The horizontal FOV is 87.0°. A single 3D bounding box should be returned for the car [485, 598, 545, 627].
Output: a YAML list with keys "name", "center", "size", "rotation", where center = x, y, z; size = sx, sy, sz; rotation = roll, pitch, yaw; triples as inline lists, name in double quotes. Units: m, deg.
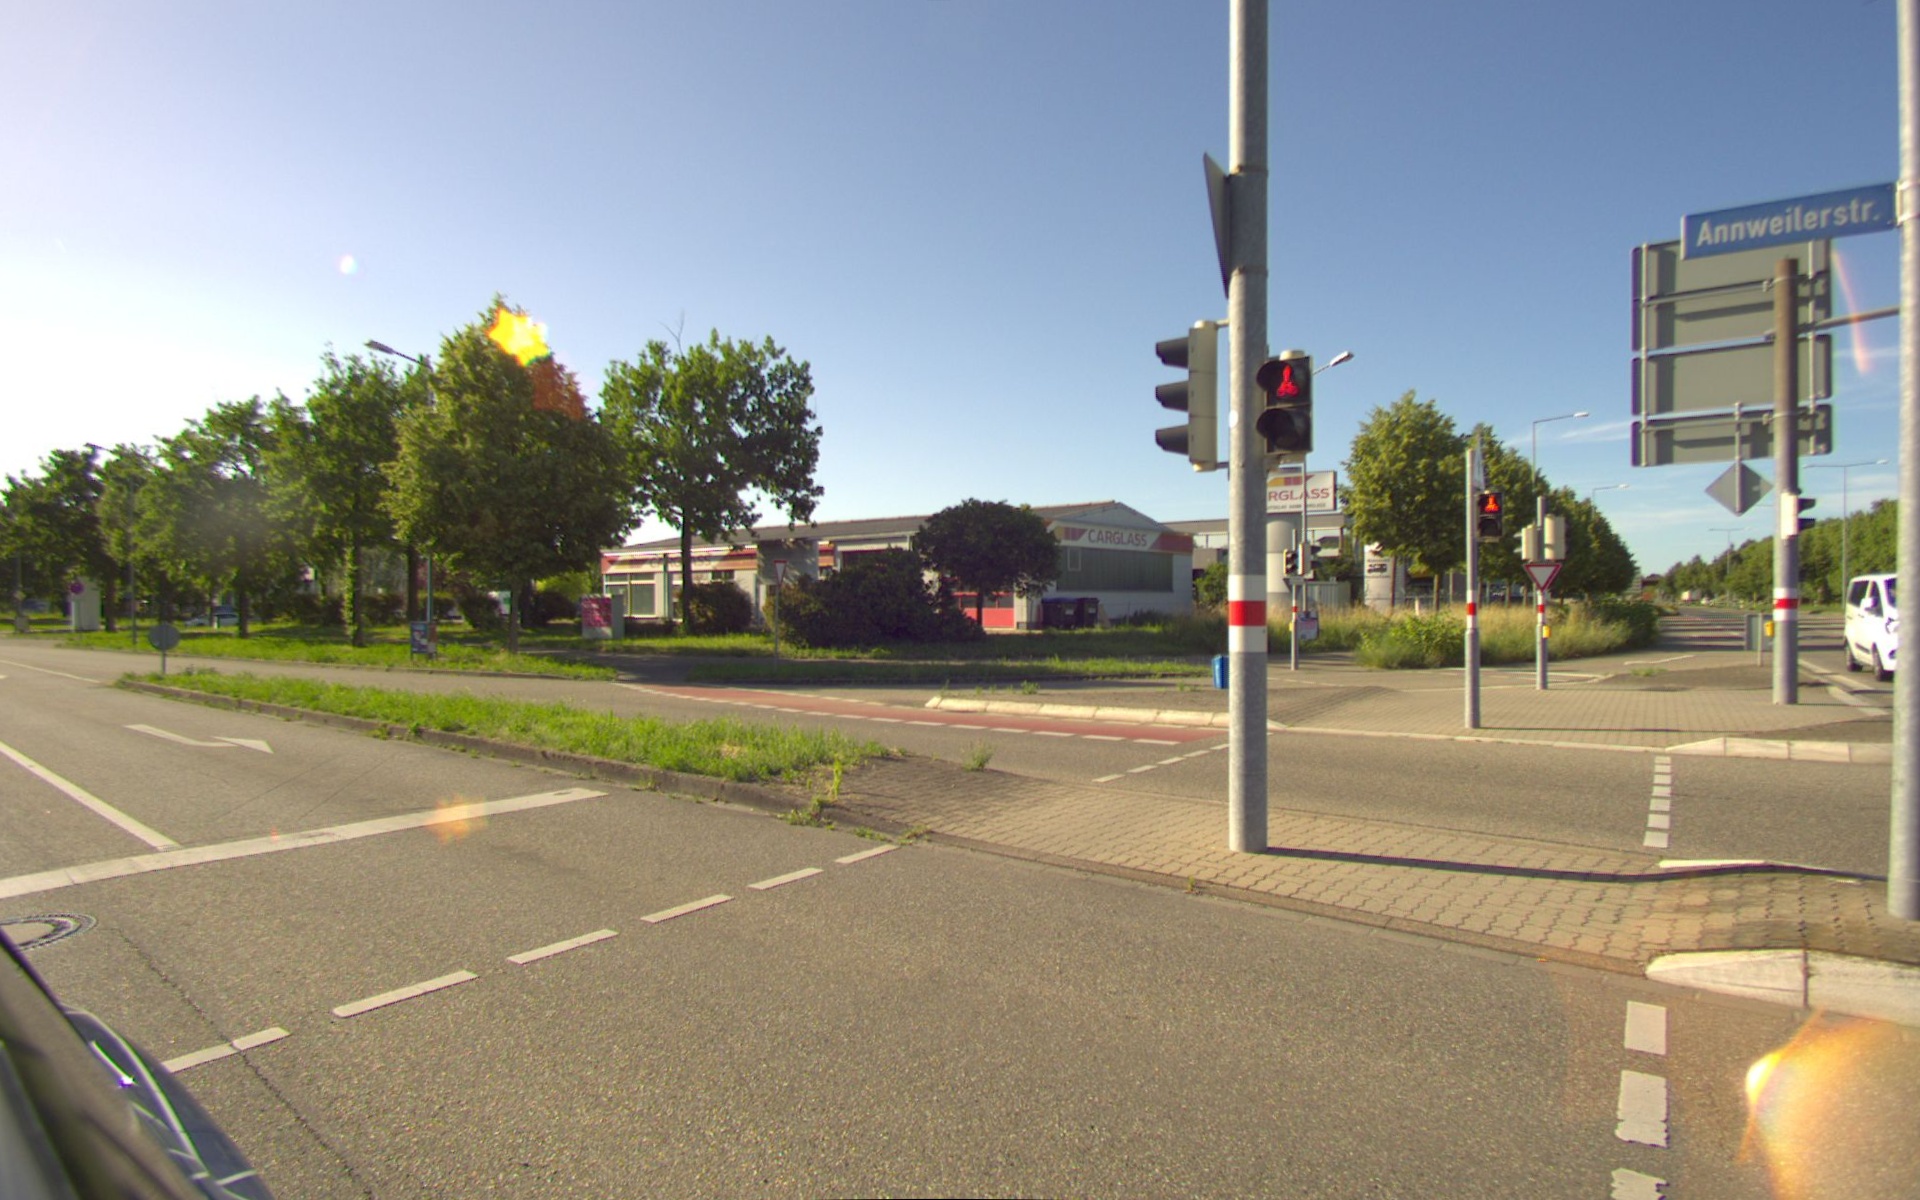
- name: "car"
  center: [-36.028, 0.983, 81.982]
  size: [1.776, 2.233, 4.161]
  rotation: [-1, -1, 38]

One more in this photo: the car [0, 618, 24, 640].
- name: "car"
  center: [-66.916, 2.020, 69.204]
  size: [1.777, 1.497, 4.157]
  rotation: [-1, 0, 41]

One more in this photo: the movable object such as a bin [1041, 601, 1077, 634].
- name: "movable object such as a bin"
  center: [3.982, 0.699, 40.701]
  size: [0.992, 1.308, 1.116]
  rotation: [-1, -1, 41]

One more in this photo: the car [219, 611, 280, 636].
- name: "car"
  center: [-59.174, 1.918, 84.313]
  size: [3.937, 2.029, 2.003]
  rotation: [1, -1, -41]

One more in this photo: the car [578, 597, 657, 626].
- name: "car"
  center: [-21.059, 0.714, 62.374]
  size: [1.995, 1.599, 4.186]
  rotation: [-1, 1, 39]

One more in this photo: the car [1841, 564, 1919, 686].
- name: "car"
  center: [18.040, 0.405, 18.655]
  size: [2.043, 2.029, 5.213]
  rotation: [-3, -2, 35]

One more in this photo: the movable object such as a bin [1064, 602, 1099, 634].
- name: "movable object such as a bin"
  center: [5.062, 0.742, 42.145]
  size: [0.992, 1.308, 1.116]
  rotation: [-1, -1, 41]

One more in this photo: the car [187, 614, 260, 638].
- name: "car"
  center: [-57.708, 2.012, 79.333]
  size: [4.427, 1.719, 2.002]
  rotation: [0, -1, -44]
